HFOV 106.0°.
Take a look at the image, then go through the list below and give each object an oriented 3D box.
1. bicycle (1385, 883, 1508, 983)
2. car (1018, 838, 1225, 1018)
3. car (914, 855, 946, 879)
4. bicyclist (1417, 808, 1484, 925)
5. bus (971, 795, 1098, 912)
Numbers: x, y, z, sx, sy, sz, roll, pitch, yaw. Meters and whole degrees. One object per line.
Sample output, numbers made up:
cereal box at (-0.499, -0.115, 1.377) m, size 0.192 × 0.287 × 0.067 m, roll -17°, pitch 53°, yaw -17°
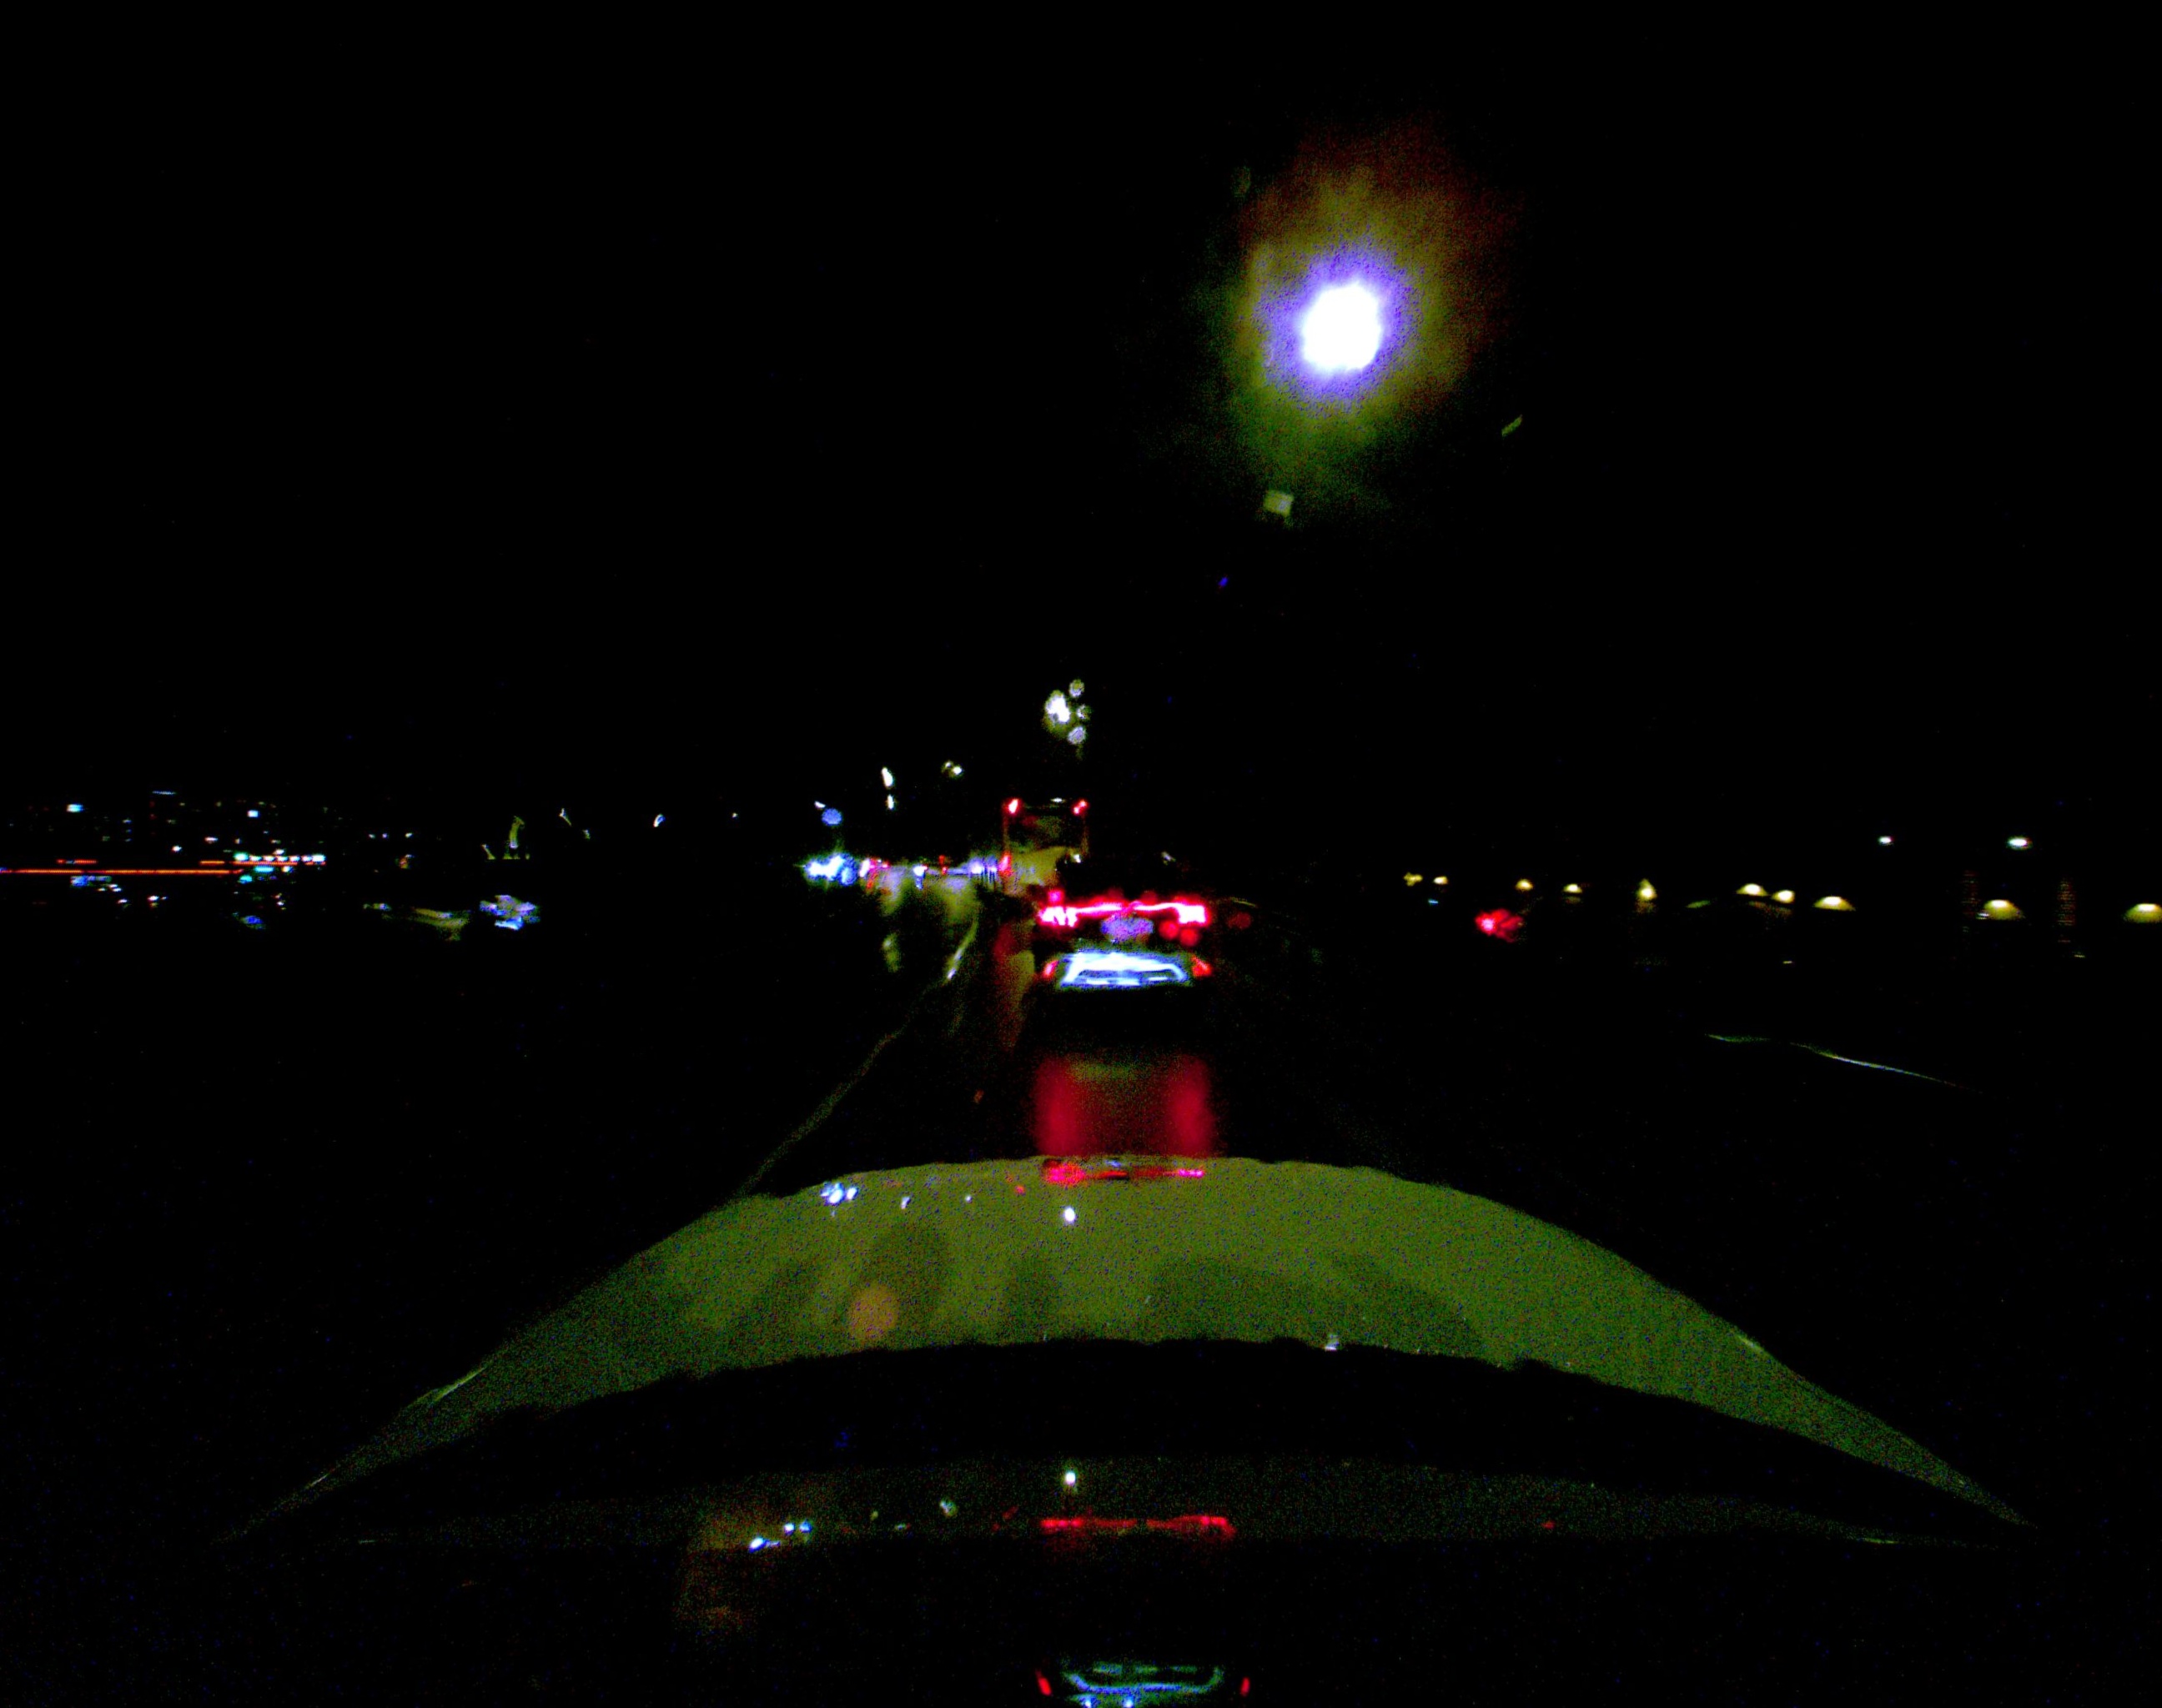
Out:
bicycle at (4.434, 0.906, 10.065) m, size 0.483 × 1.034 × 2.170 m, roll -1°, pitch -1°, yaw -1°
car at (0.292, 0.676, 9.296) m, size 1.851 × 1.586 × 3.996 m, roll -1°, pitch -1°, yaw -2°
car at (-11.137, 0.978, 59.811) m, size 1.642 × 1.656 × 3.682 m, roll 0°, pitch -3°, yaw -22°
bicyclist at (4.415, 0.141, 9.766) m, size 0.451 × 1.349 × 0.764 m, roll 0°, pitch 0°, yaw -1°
bus at (-2.108, -0.018, 28.620) m, size 3.083 × 3.133 × 12.655 m, roll -1°, pitch 0°, yaw -9°
